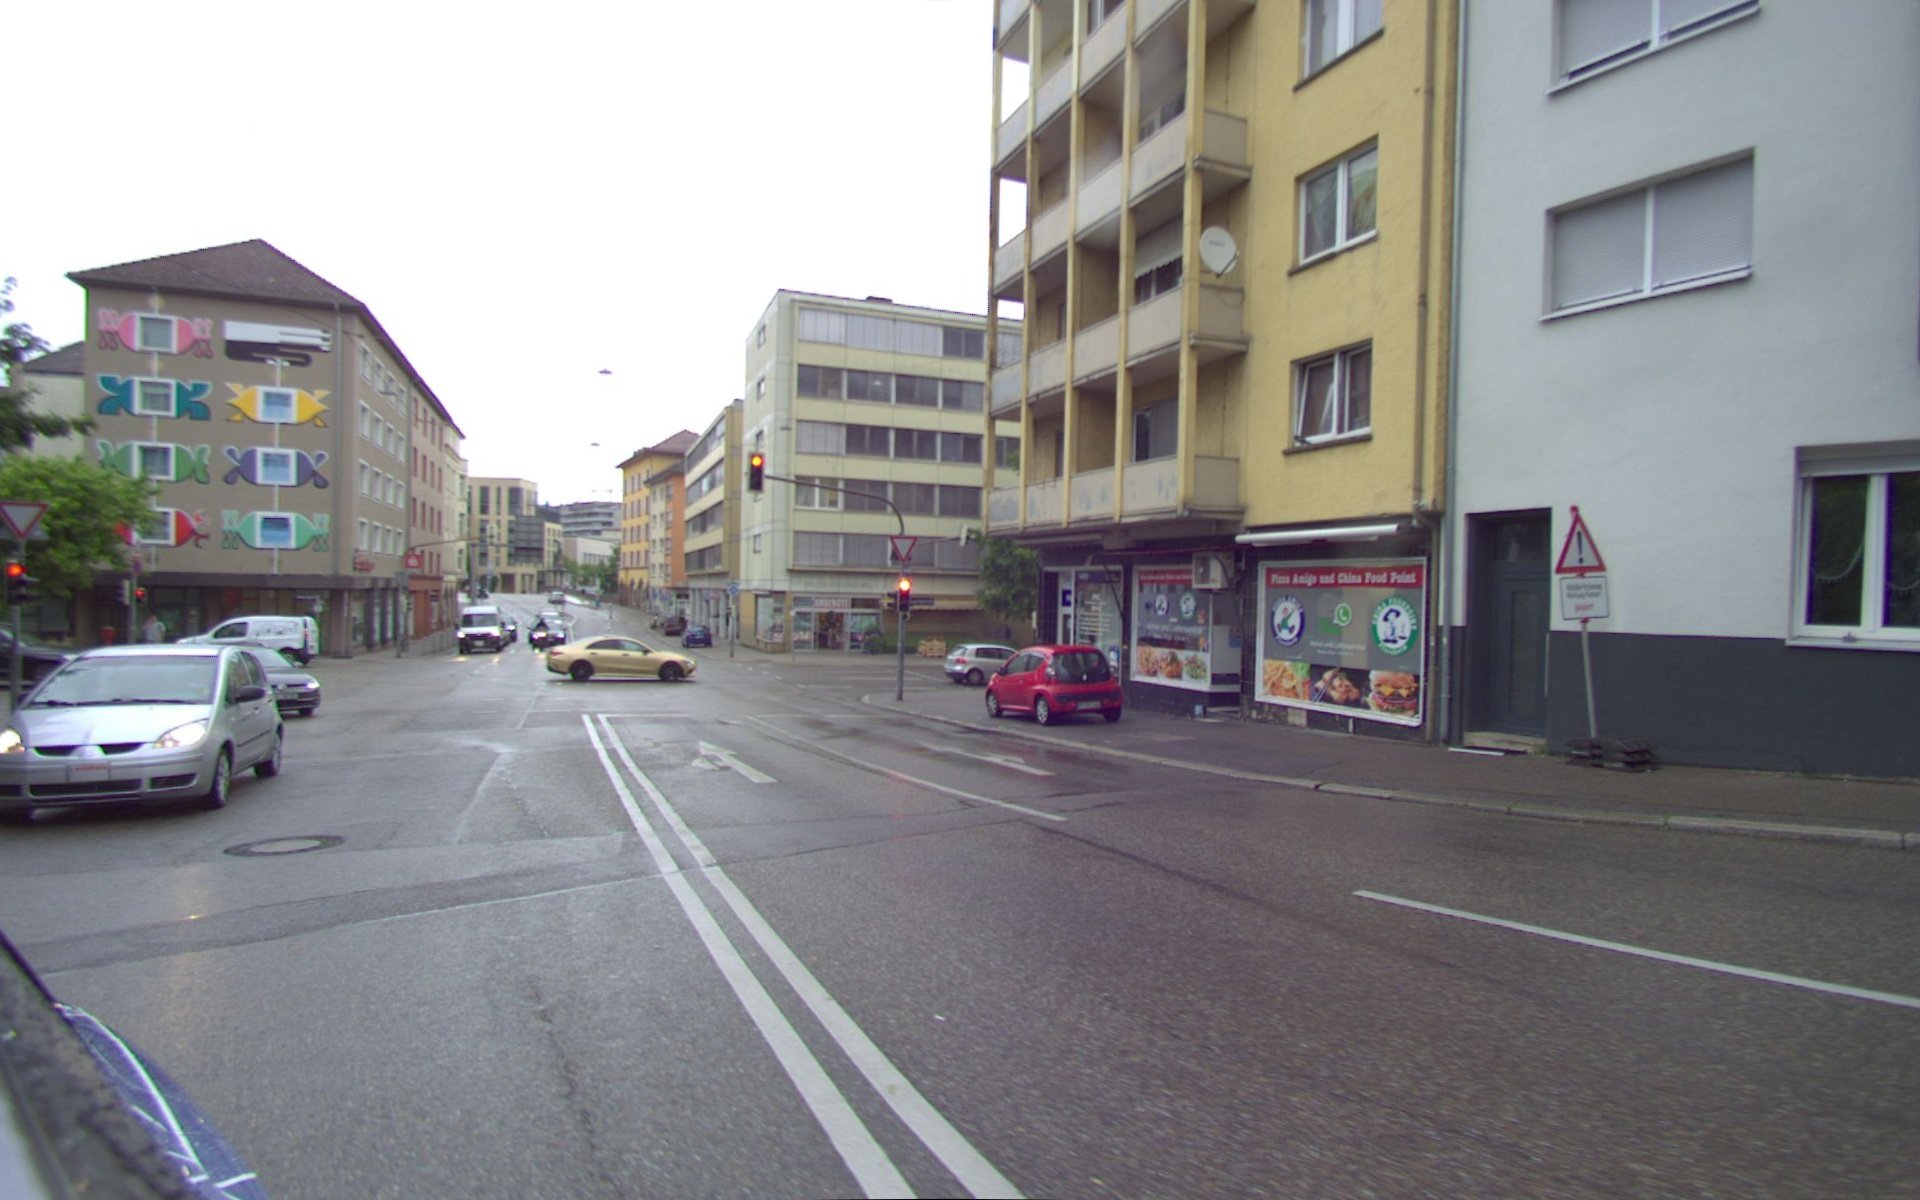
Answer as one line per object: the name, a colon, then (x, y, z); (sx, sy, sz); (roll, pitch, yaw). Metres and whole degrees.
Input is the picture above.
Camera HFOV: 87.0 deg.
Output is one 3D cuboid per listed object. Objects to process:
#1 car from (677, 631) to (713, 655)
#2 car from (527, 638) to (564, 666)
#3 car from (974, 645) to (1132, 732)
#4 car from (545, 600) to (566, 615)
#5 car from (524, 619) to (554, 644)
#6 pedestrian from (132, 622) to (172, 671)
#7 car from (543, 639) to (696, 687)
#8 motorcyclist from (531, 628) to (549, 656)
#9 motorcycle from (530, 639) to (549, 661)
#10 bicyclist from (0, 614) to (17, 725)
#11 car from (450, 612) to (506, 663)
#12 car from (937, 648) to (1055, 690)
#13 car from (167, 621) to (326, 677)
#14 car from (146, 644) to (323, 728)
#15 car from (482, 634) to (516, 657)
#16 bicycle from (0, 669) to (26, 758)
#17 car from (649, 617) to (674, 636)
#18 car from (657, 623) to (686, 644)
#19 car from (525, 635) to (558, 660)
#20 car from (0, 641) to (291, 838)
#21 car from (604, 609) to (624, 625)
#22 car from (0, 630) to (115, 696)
car: (-17.058, 2.761, 65.048); (1.818, 1.430, 3.580); (-2, -1, -20)
car: (-24.173, 3.013, 59.085); (1.818, 1.430, 3.580); (-2, -1, -20)
car: (1.720, 1.658, 19.865); (1.587, 1.475, 3.545); (-1, -2, -22)
car: (-52.253, 0.933, 130.571); (1.819, 1.721, 4.382); (1, 0, -31)
car: (-31.059, 2.304, 74.698); (1.818, 1.728, 3.580); (-2, -1, -20)
pedestrian: (-29.933, 1.733, 37.497); (0.888, 1.787, 0.820); (2, -2, -22)
car: (-10.920, 2.013, 32.512); (4.502, 1.452, 1.998); (2, -2, -21)
motorcyclist: (-22.508, 2.245, 54.216); (0.864, 1.490, 0.799); (1, -2, -21)
motorcycle: (-22.480, 2.662, 54.114); (0.864, 1.108, 1.806); (1, -2, -21)
bicyclist: (-13.330, 0.920, 13.420); (0.873, 1.501, 0.971); (3, -4, -27)
car: (-25.905, 2.003, 54.576); (2.194, 2.543, 5.488); (-1, -1, -20)
car: (1.309, 2.537, 37.300); (3.966, 1.435, 1.693); (2, -1, -21)
car: (-25.154, 1.729, 35.881); (4.158, 1.869, 1.997); (2, -2, -19)
car: (-14.943, 1.719, 20.766); (4.493, 1.516, 1.667); (-3, -3, 36)
car: (-31.153, 3.029, 68.520); (1.818, 1.430, 3.580); (-2, -1, -20)
bicycle: (-13.315, 1.518, 13.322); (0.873, 1.196, 2.140); (3, -4, -27)
car: (-25.891, 2.292, 87.697); (1.818, 1.579, 4.383); (-2, -1, -20)
car: (-23.283, 2.665, 81.605); (1.818, 1.579, 4.383); (-2, -1, -20)
car: (-27.177, 3.062, 65.825); (1.818, 1.430, 3.580); (-2, -1, -20)
car: (-7.994, 1.236, 10.079); (1.658, 1.516, 3.851); (-1, -3, -25)
car: (-36.506, 1.772, 106.755); (1.818, 1.579, 4.383); (-2, -1, -20)
car: (-25.264, 1.627, 26.413); (4.502, 1.591, 1.998); (2, 0, -23)
